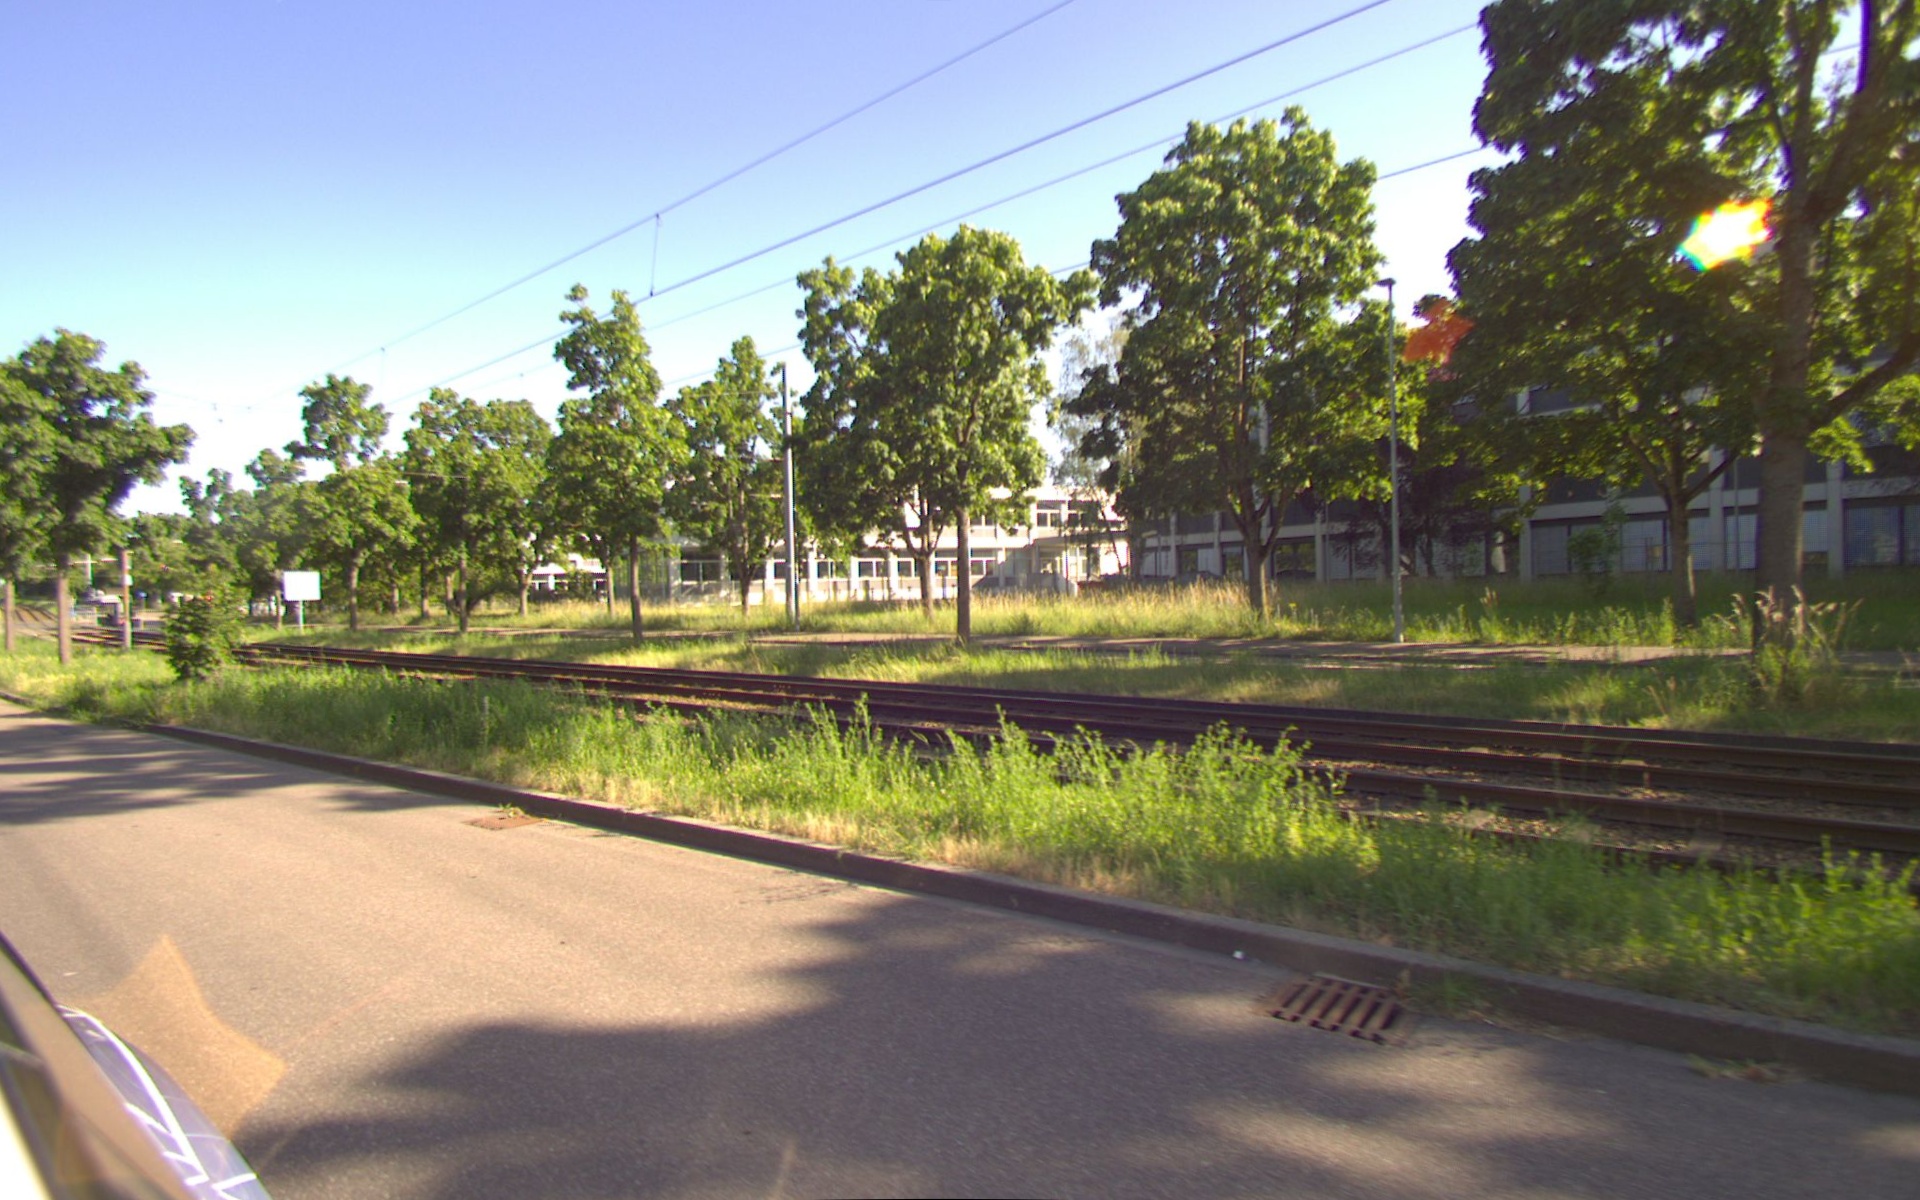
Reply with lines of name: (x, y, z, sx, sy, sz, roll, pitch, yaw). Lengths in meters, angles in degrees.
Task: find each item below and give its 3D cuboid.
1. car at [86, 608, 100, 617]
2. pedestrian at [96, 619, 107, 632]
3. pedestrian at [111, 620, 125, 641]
car: (-172.834, 2.479, 201.762, 3.457, 1.596, 1.678, -1, 0, 43)
pedestrian: (-81.526, 2.392, 96.104, 0.680, 1.258, 0.643, -1, -2, 36)
pedestrian: (-71.405, 2.583, 85.795, 0.782, 1.765, 0.775, -1, 1, 43)
